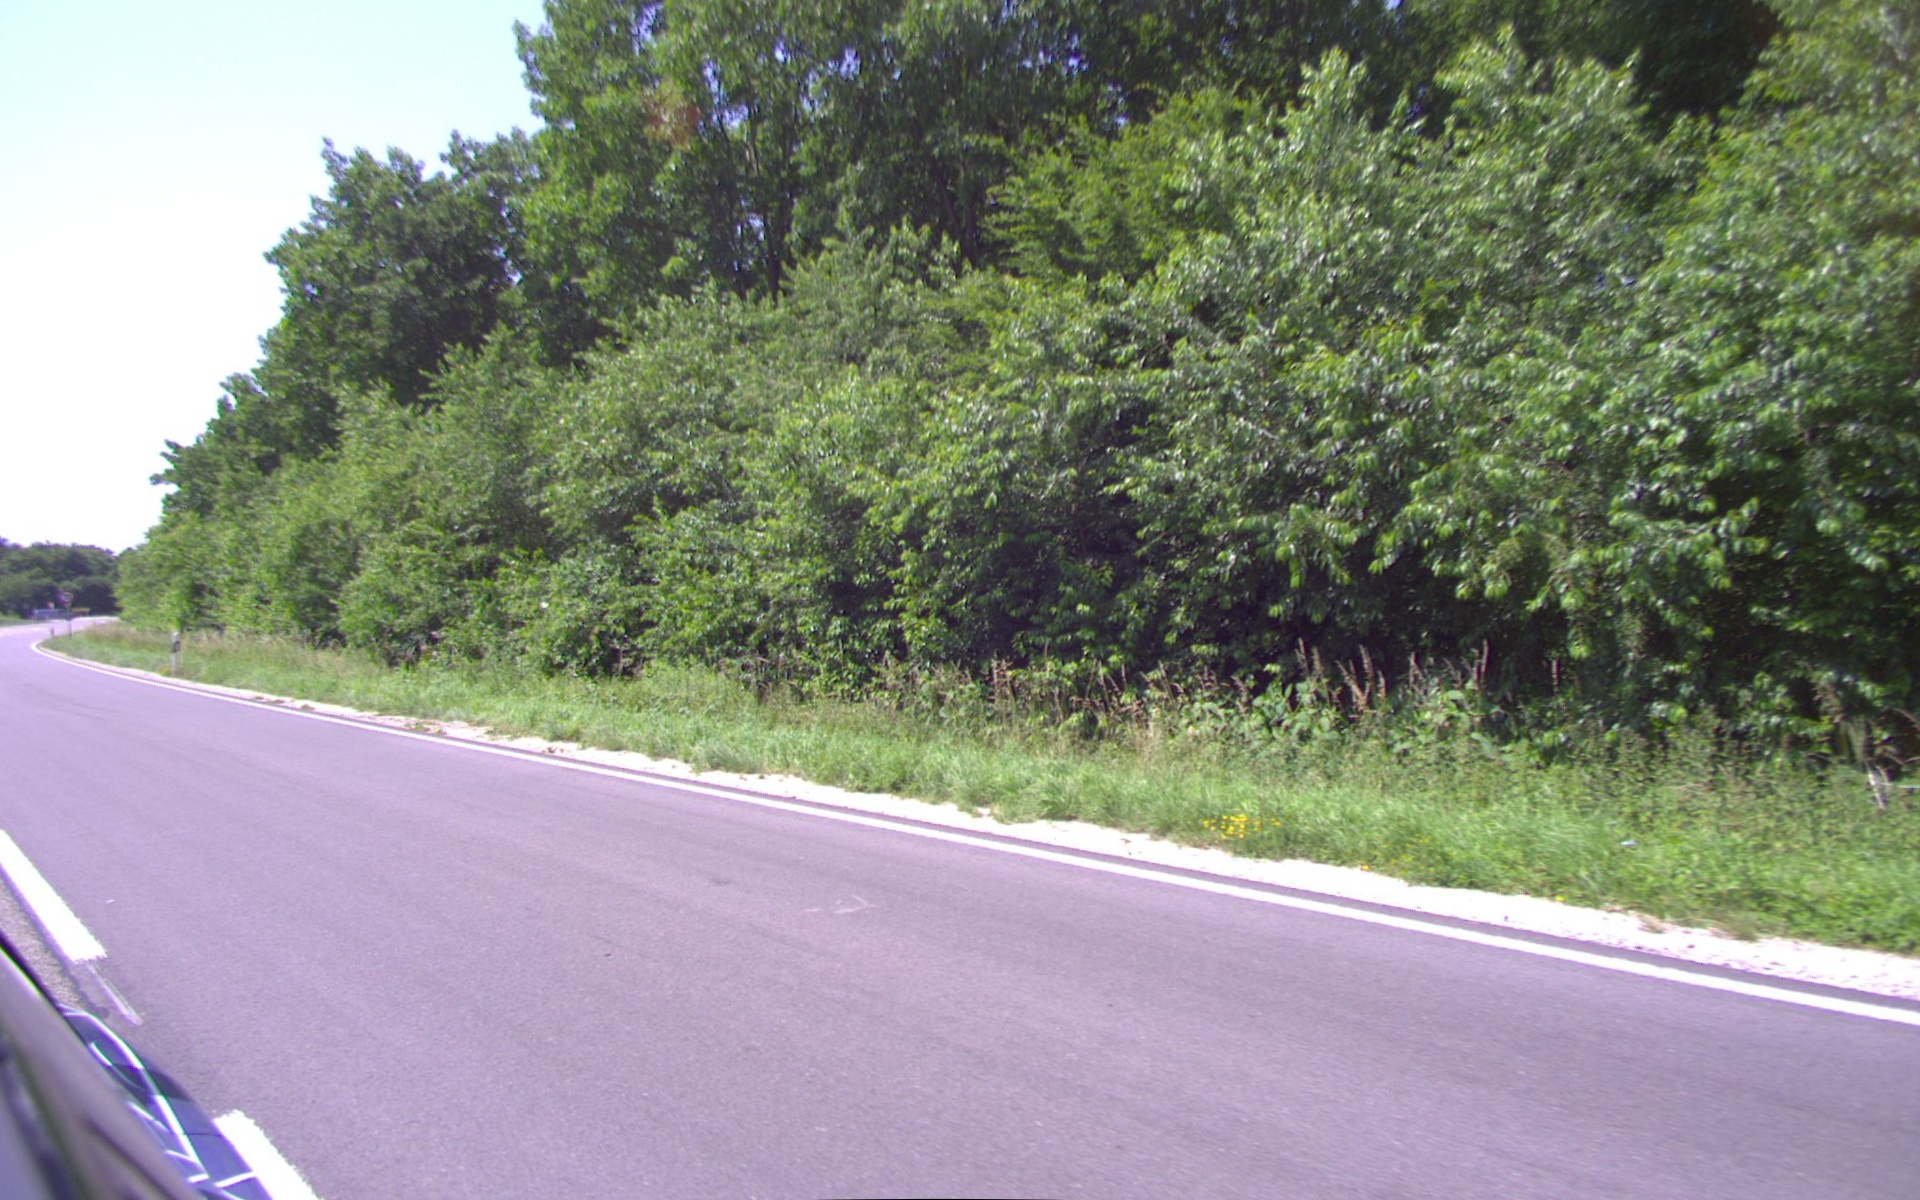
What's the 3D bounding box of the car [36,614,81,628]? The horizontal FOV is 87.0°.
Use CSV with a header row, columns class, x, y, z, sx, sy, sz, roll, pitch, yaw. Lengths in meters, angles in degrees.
class,x,y,z,sx,sy,sz,roll,pitch,yaw
car,-146.727,3.355,164.774,2.013,1.921,5.159,0,2,41
